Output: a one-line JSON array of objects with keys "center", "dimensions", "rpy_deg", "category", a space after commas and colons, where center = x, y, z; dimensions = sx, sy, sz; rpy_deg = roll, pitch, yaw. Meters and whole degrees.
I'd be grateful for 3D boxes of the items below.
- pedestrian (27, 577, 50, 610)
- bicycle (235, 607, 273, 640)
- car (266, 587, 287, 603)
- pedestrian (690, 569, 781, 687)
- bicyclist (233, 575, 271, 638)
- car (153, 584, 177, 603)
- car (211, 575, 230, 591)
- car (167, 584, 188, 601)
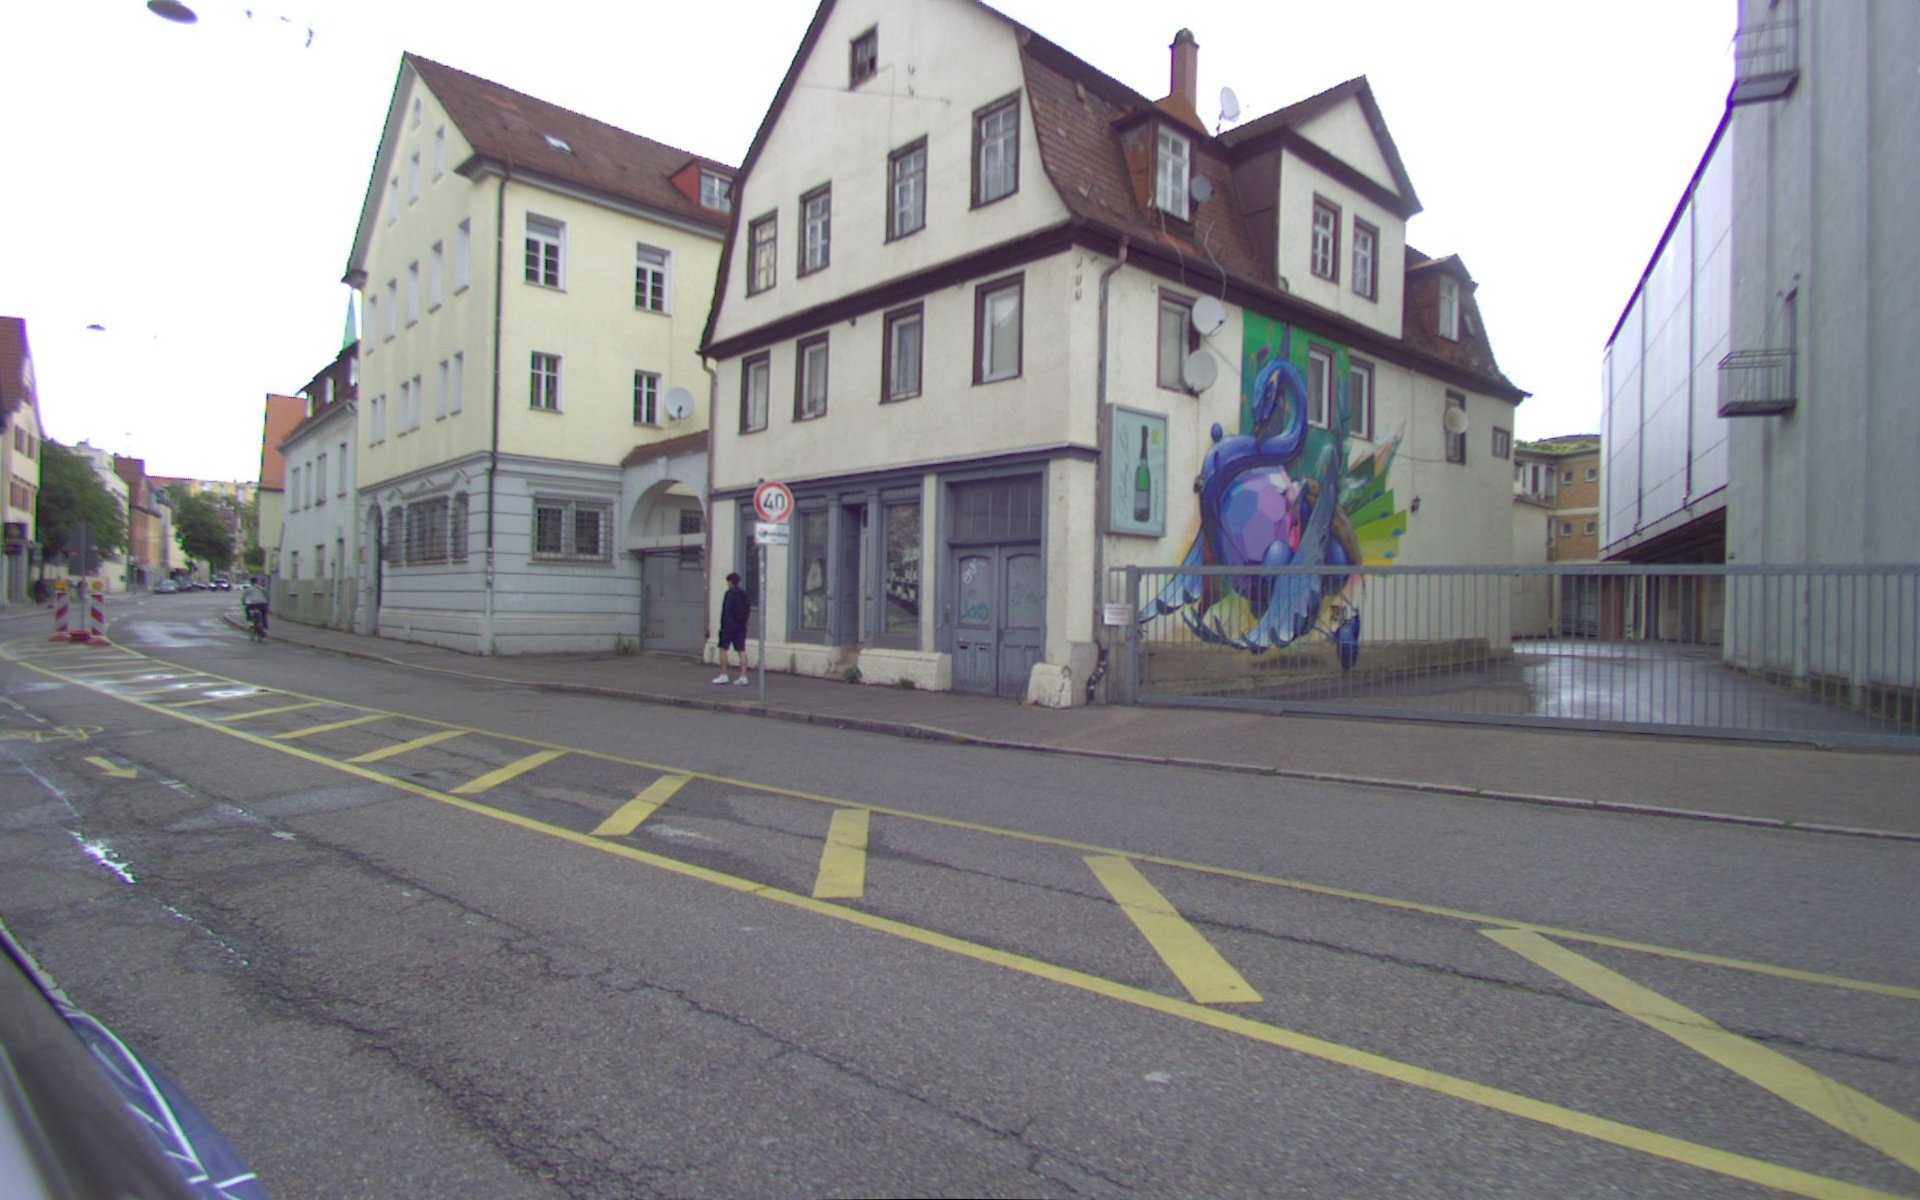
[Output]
[{"center": [-54.128, -0.395, 59.443], "dimensions": [0.896, 1.914, 0.867], "rpy_deg": [0, -1, 39], "category": "pedestrian"}, {"center": [-19.633, 0.648, 28.137], "dimensions": [0.535, 0.899, 1.881], "rpy_deg": [2, -2, -45], "category": "bicycle"}, {"center": [-89.436, -0.621, 132.357], "dimensions": [2.027, 2.029, 4.009], "rpy_deg": [1, -1, -37], "category": "car"}, {"center": [-3.767, 0.459, 17.005], "dimensions": [1.092, 1.900, 1.042], "rpy_deg": [-2, -1, 44], "category": "pedestrian"}, {"center": [-19.686, 0.197, 28.144], "dimensions": [0.715, 1.714, 0.811], "rpy_deg": [2, -2, -45], "category": "bicyclist"}, {"center": [-88.716, -0.693, 112.959], "dimensions": [1.967, 2.029, 4.009], "rpy_deg": [1, -1, -37], "category": "car"}, {"center": [-101.292, -2.297, 138.560], "dimensions": [1.967, 2.029, 4.009], "rpy_deg": [1, -1, -37], "category": "car"}, {"center": [-101.005, -0.923, 130.640], "dimensions": [1.967, 2.029, 4.009], "rpy_deg": [1, -1, -37], "category": "car"}]
